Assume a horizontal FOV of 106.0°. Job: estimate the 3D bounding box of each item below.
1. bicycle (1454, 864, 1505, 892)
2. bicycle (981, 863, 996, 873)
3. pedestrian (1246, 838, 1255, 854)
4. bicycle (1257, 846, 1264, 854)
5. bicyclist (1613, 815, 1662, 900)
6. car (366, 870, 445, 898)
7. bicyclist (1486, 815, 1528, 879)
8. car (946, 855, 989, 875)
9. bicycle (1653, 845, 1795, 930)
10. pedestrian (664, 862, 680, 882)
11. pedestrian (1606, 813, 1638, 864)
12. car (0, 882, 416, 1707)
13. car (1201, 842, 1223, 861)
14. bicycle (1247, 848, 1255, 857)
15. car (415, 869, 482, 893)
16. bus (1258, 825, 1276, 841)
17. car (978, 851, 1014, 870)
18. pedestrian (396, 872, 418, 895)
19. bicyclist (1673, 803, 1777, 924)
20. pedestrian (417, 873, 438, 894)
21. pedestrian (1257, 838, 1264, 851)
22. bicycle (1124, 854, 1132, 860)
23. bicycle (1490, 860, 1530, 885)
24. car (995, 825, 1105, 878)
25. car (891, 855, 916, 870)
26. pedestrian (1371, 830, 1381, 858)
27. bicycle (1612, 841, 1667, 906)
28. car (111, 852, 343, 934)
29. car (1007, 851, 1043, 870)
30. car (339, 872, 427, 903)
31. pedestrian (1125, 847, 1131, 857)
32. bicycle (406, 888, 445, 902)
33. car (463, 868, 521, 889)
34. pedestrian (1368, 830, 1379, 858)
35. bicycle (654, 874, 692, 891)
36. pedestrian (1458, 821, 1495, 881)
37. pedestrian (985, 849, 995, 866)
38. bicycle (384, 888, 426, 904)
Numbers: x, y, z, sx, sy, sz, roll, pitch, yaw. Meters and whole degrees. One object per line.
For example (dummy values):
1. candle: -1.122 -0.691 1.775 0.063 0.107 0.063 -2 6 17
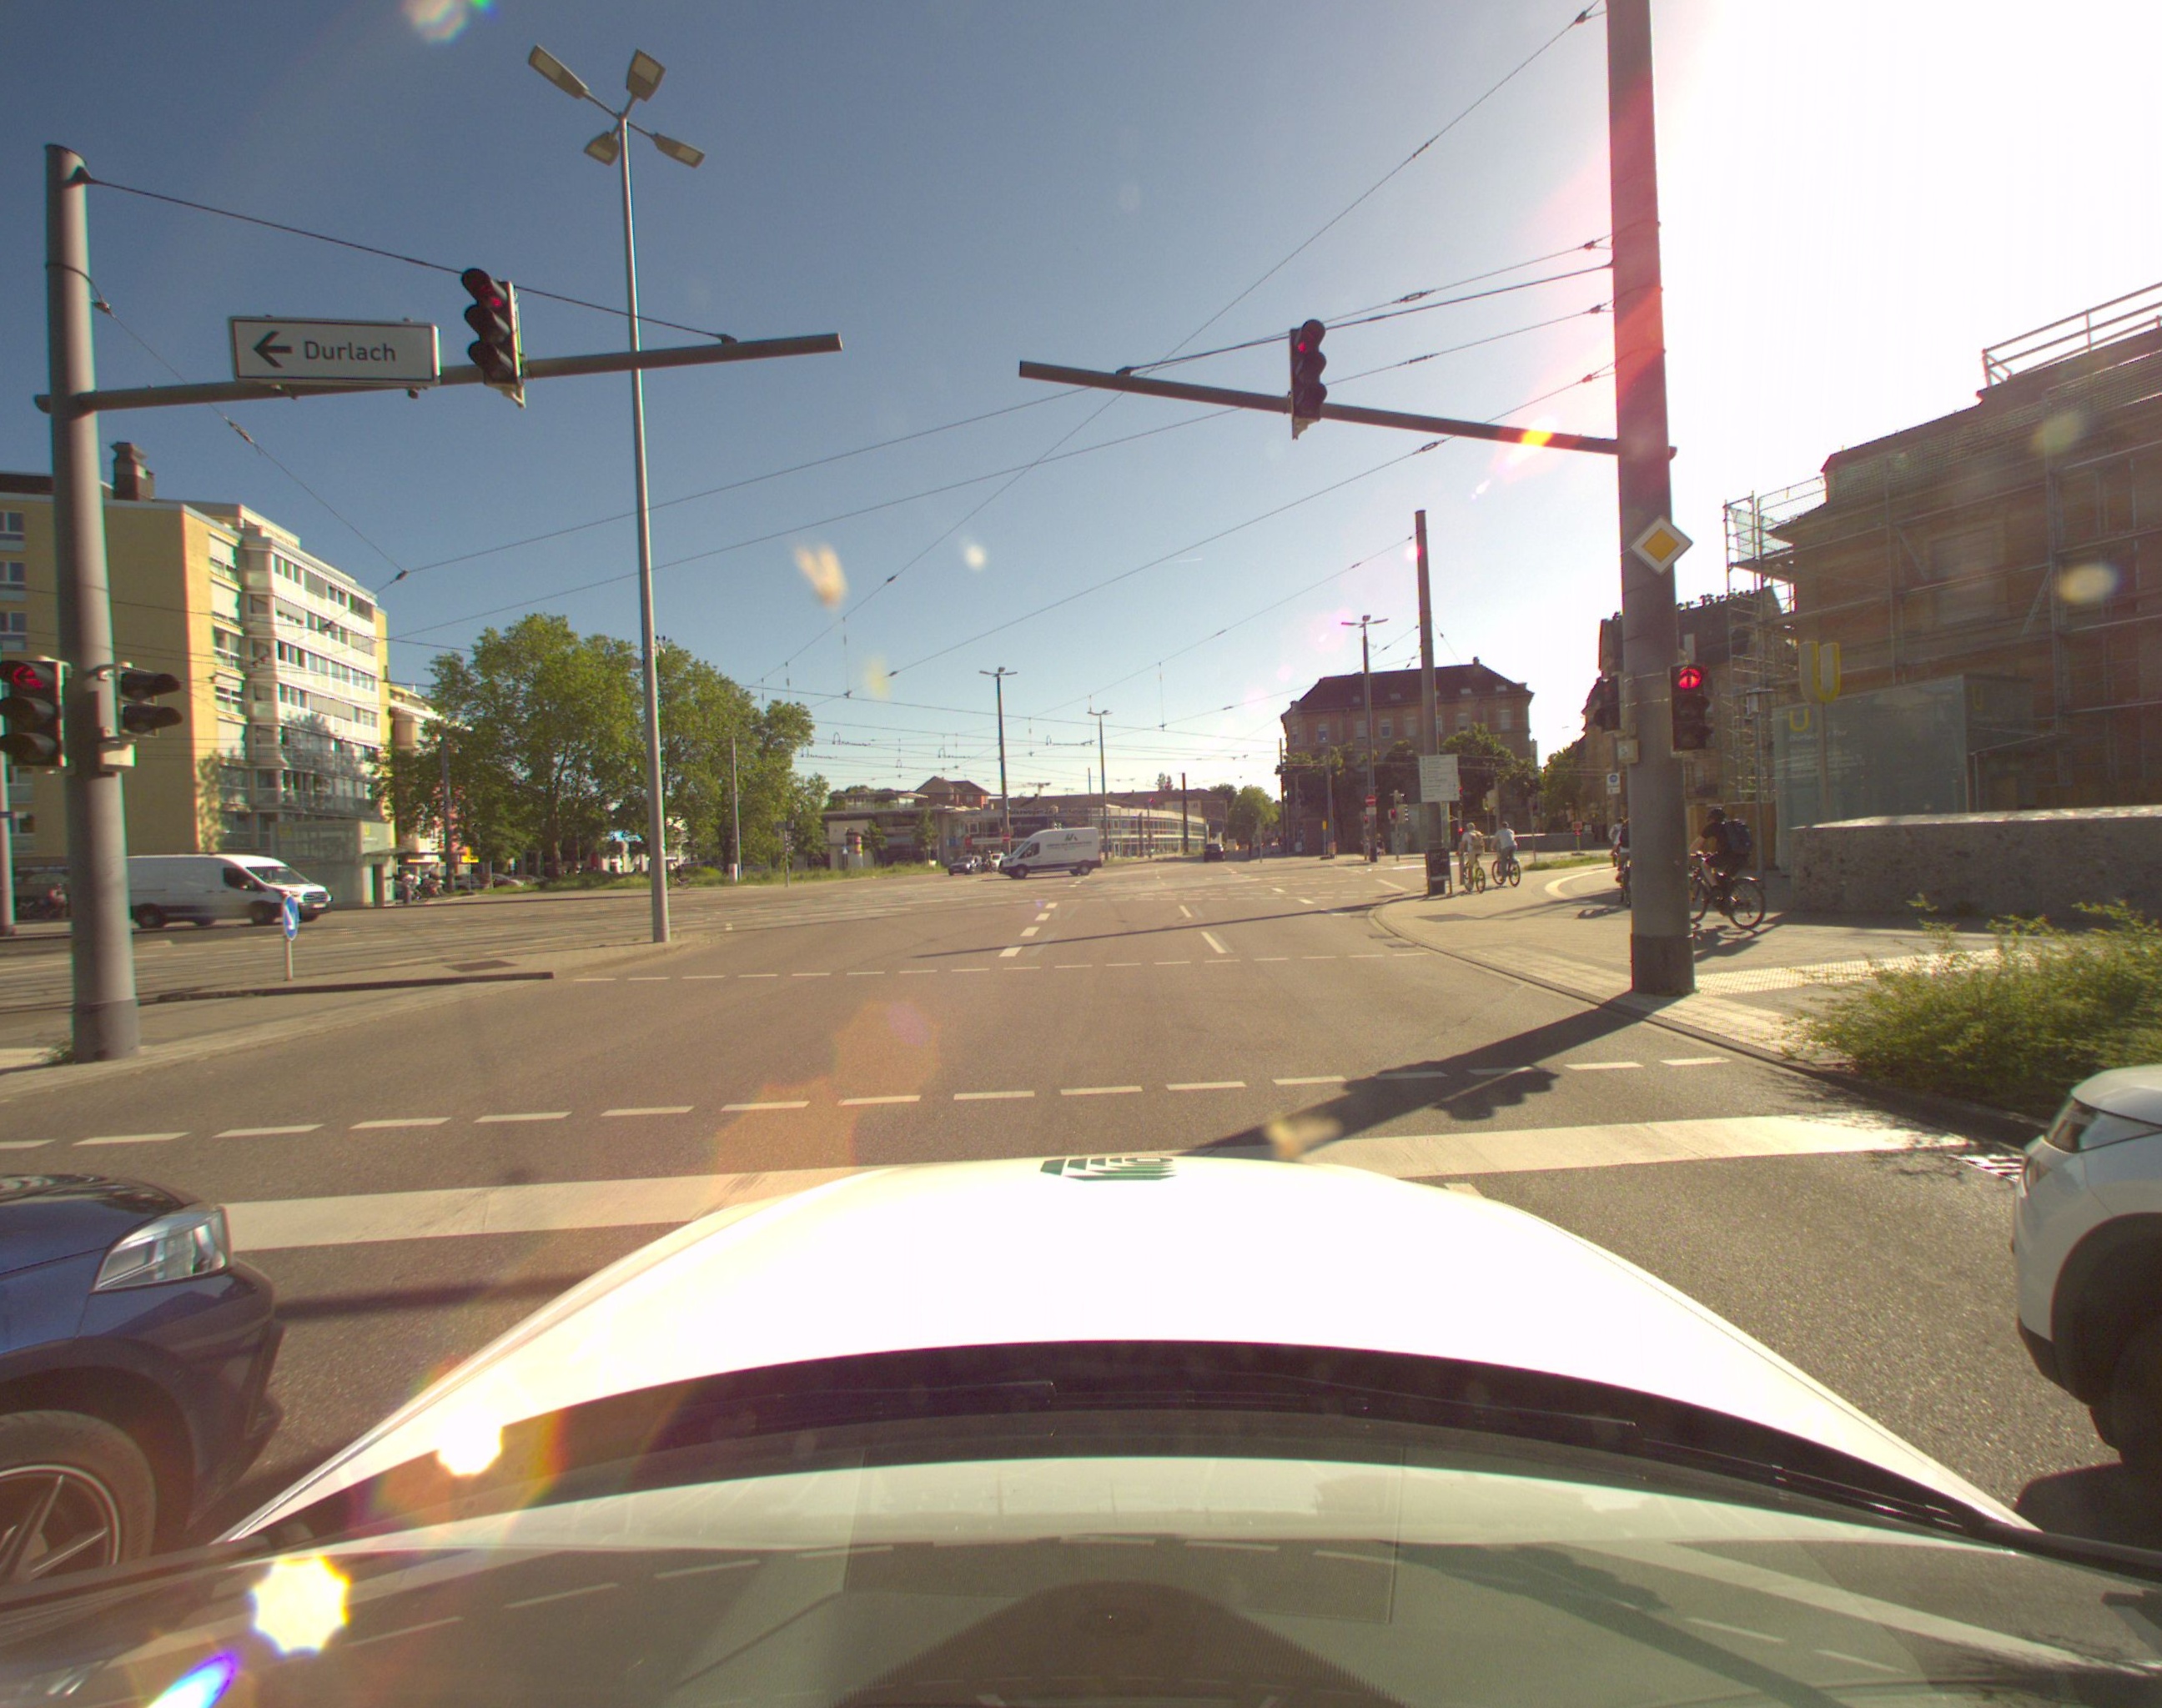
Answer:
1. bicycle: 10.672 0.625 21.869 0.535 0.655 1.726 -5 0 2
2. bicycle: -6.864 1.025 60.674 0.419 0.718 1.642 -2 0 19
3. pedestrian: 18.226 -0.883 87.496 0.796 1.632 0.721 -2 0 16
4. bicycle: 22.526 -0.512 102.286 0.737 0.870 1.940 -2 0 17
5. bicyclist: 10.721 0.060 15.713 0.566 1.568 0.952 -5 0 27
6. car: -45.761 2.045 55.241 3.742 1.662 1.585 -2 0 -18
7. bicyclist: 12.223 -0.206 23.402 0.742 1.778 0.926 -3 0 9
8. car: -8.498 0.798 61.242 1.689 1.354 3.719 -2 0 19
9. bicycle: 9.446 0.455 12.065 0.623 1.113 1.852 -5 0 3
10. pedestrian: -25.435 1.131 50.666 0.798 1.204 0.556 -2 0 -25
11. pedestrian: 20.355 -0.586 30.651 0.887 1.859 0.933 -2 0 36
12. car: -2.667 0.806 0.121 1.704 1.445 4.034 -1 0 2
13. car: 11.483 -0.249 71.085 1.688 1.503 4.278 -2 0 11
14. bicycle: 18.184 -0.195 87.106 0.737 0.870 1.939 -2 0 16
15. car: -49.849 2.102 64.259 3.742 1.662 1.585 -2 0 -18
16. bus: 48.934 -5.374 213.855 3.808 3.607 24.965 -1 0 15
17. car: -6.979 0.553 67.166 1.613 1.424 3.702 -2 0 17
18. pedestrian: -36.394 1.581 43.984 0.750 1.204 0.421 -2 0 -21
19. bicyclist: 9.409 0.130 11.932 0.623 1.637 0.996 -5 0 3
20. pedestrian: -36.580 1.642 45.579 0.749 1.127 0.421 -2 0 -18
21. pedestrian: 22.482 -1.208 102.231 0.740 1.523 0.721 -2 0 17
22. bicycle: 6.063 0.382 105.240 0.419 0.718 1.484 -2 0 25
23. bicycle: 12.278 0.515 23.329 0.534 0.655 1.471 -3 0 9
24. car: -1.819 -0.155 47.136 5.920 2.744 2.131 -2 0 -18
25. car: -21.868 1.075 100.593 1.958 1.706 4.085 -2 0 2
26. pedestrian: 21.837 -0.750 60.331 0.461 2.013 0.449 -3 0 -16
27. bicycle: 10.767 0.345 15.751 0.566 1.125 1.751 -5 0 27
28. car: -29.409 1.281 28.229 5.397 2.508 1.995 -2 0 -7
29. car: -4.473 0.516 65.222 1.613 1.382 3.754 -2 0 17
30. car: -42.887 2.007 50.130 3.742 1.662 1.585 -2 0 -18
31. pedestrian: 6.058 -0.248 105.281 0.419 1.204 0.684 -2 0 25
32. bicycle: -36.637 2.295 45.545 1.634 0.718 0.421 -2 0 -18
33. car: -51.423 2.130 71.183 3.742 1.662 1.585 -2 0 -18
34. pedestrian: 21.420 -0.714 59.647 0.574 2.013 0.449 -3 0 -16
35. bicycle: -25.380 1.773 50.678 2.015 0.913 0.558 -2 0 -25
36. pedestrian: 10.569 -0.074 21.801 0.546 1.562 0.859 -2 0 2
37. pedestrian: -6.826 0.277 60.881 0.419 1.204 0.753 -2 0 19
38. bicycle: -36.463 2.239 43.945 1.635 0.758 0.421 -2 0 -21
